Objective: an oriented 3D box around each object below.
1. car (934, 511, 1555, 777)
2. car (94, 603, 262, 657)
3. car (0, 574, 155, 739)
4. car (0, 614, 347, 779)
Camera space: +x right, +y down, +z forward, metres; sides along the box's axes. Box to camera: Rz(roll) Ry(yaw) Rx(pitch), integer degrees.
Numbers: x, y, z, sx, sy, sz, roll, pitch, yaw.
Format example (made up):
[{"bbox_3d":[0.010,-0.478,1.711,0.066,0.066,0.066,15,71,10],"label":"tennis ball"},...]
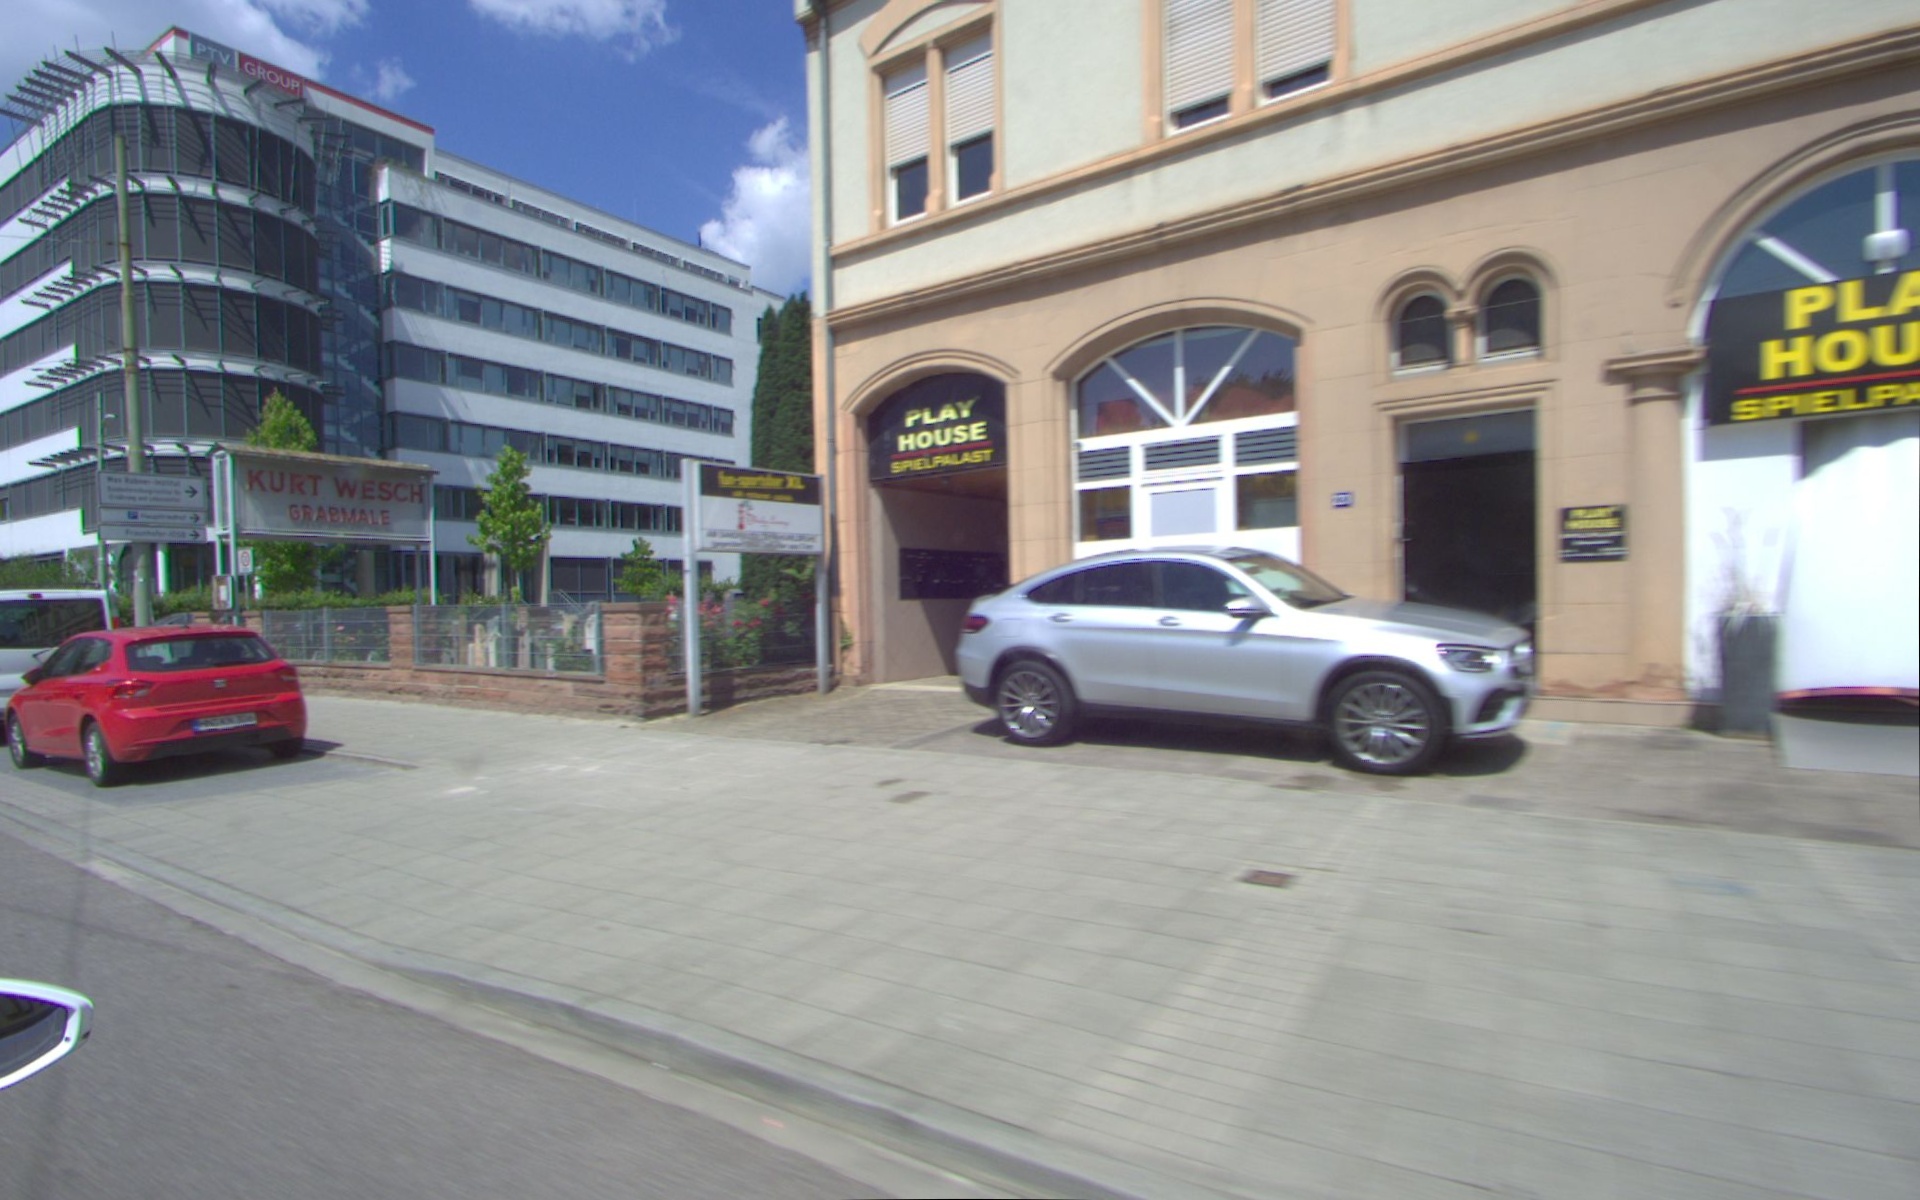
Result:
[{"bbox_3d":[2.181,0.260,8.297,4.579,1.647,1.870,-1,3,37],"label":"car"},{"bbox_3d":[-23.264,0.855,29.894,1.734,1.470,3.591,0,0,33],"label":"car"},{"bbox_3d":[-13.923,0.728,14.460,5.438,2.019,1.987,-1,2,34],"label":"car"},{"bbox_3d":[-8.592,0.887,10.824,3.963,1.461,1.988,-1,-1,36],"label":"car"}]
